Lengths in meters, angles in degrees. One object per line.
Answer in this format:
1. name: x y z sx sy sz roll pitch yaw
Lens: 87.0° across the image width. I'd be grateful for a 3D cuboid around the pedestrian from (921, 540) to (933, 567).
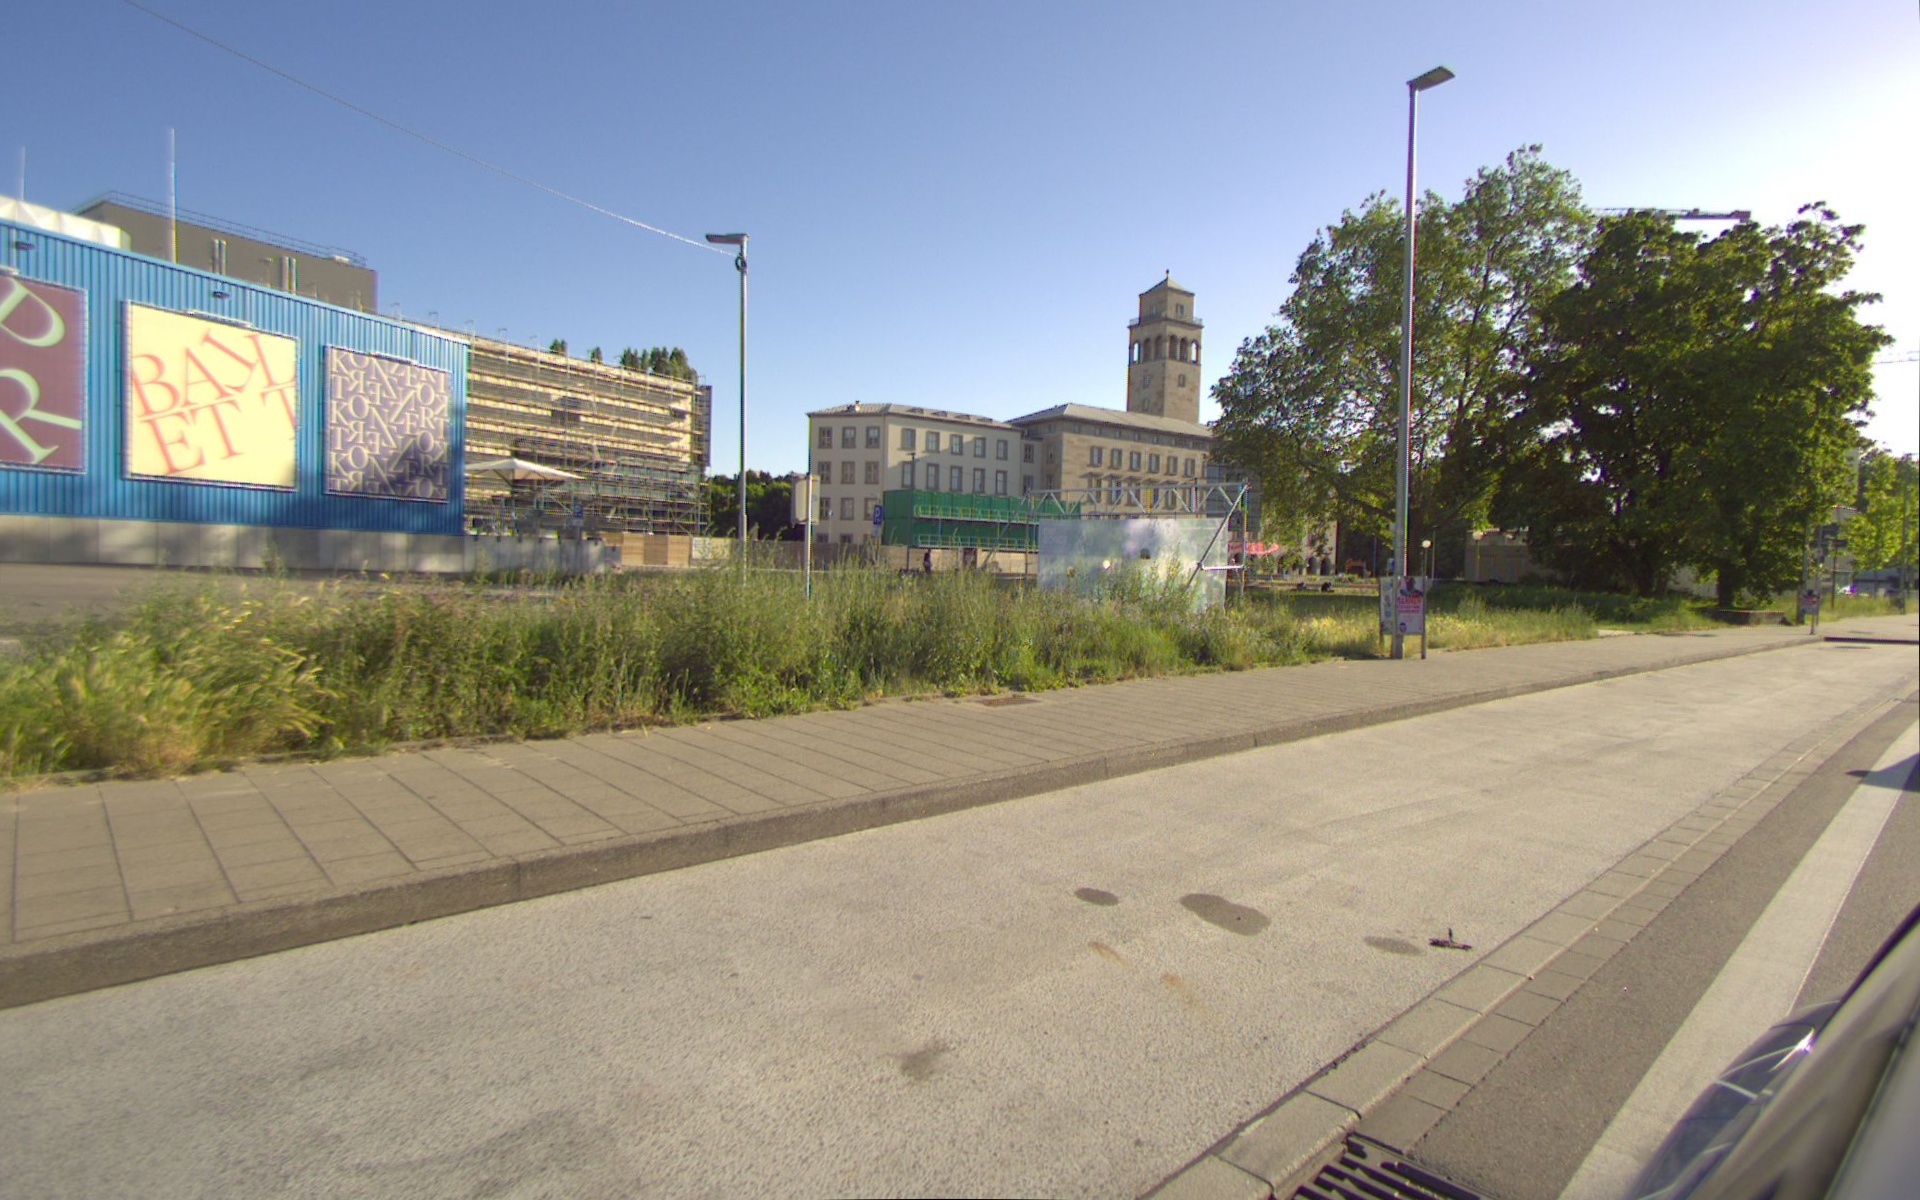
1. pedestrian: -1.666 -2.370 51.667 0.432 1.311 0.575 -2 1 -19
